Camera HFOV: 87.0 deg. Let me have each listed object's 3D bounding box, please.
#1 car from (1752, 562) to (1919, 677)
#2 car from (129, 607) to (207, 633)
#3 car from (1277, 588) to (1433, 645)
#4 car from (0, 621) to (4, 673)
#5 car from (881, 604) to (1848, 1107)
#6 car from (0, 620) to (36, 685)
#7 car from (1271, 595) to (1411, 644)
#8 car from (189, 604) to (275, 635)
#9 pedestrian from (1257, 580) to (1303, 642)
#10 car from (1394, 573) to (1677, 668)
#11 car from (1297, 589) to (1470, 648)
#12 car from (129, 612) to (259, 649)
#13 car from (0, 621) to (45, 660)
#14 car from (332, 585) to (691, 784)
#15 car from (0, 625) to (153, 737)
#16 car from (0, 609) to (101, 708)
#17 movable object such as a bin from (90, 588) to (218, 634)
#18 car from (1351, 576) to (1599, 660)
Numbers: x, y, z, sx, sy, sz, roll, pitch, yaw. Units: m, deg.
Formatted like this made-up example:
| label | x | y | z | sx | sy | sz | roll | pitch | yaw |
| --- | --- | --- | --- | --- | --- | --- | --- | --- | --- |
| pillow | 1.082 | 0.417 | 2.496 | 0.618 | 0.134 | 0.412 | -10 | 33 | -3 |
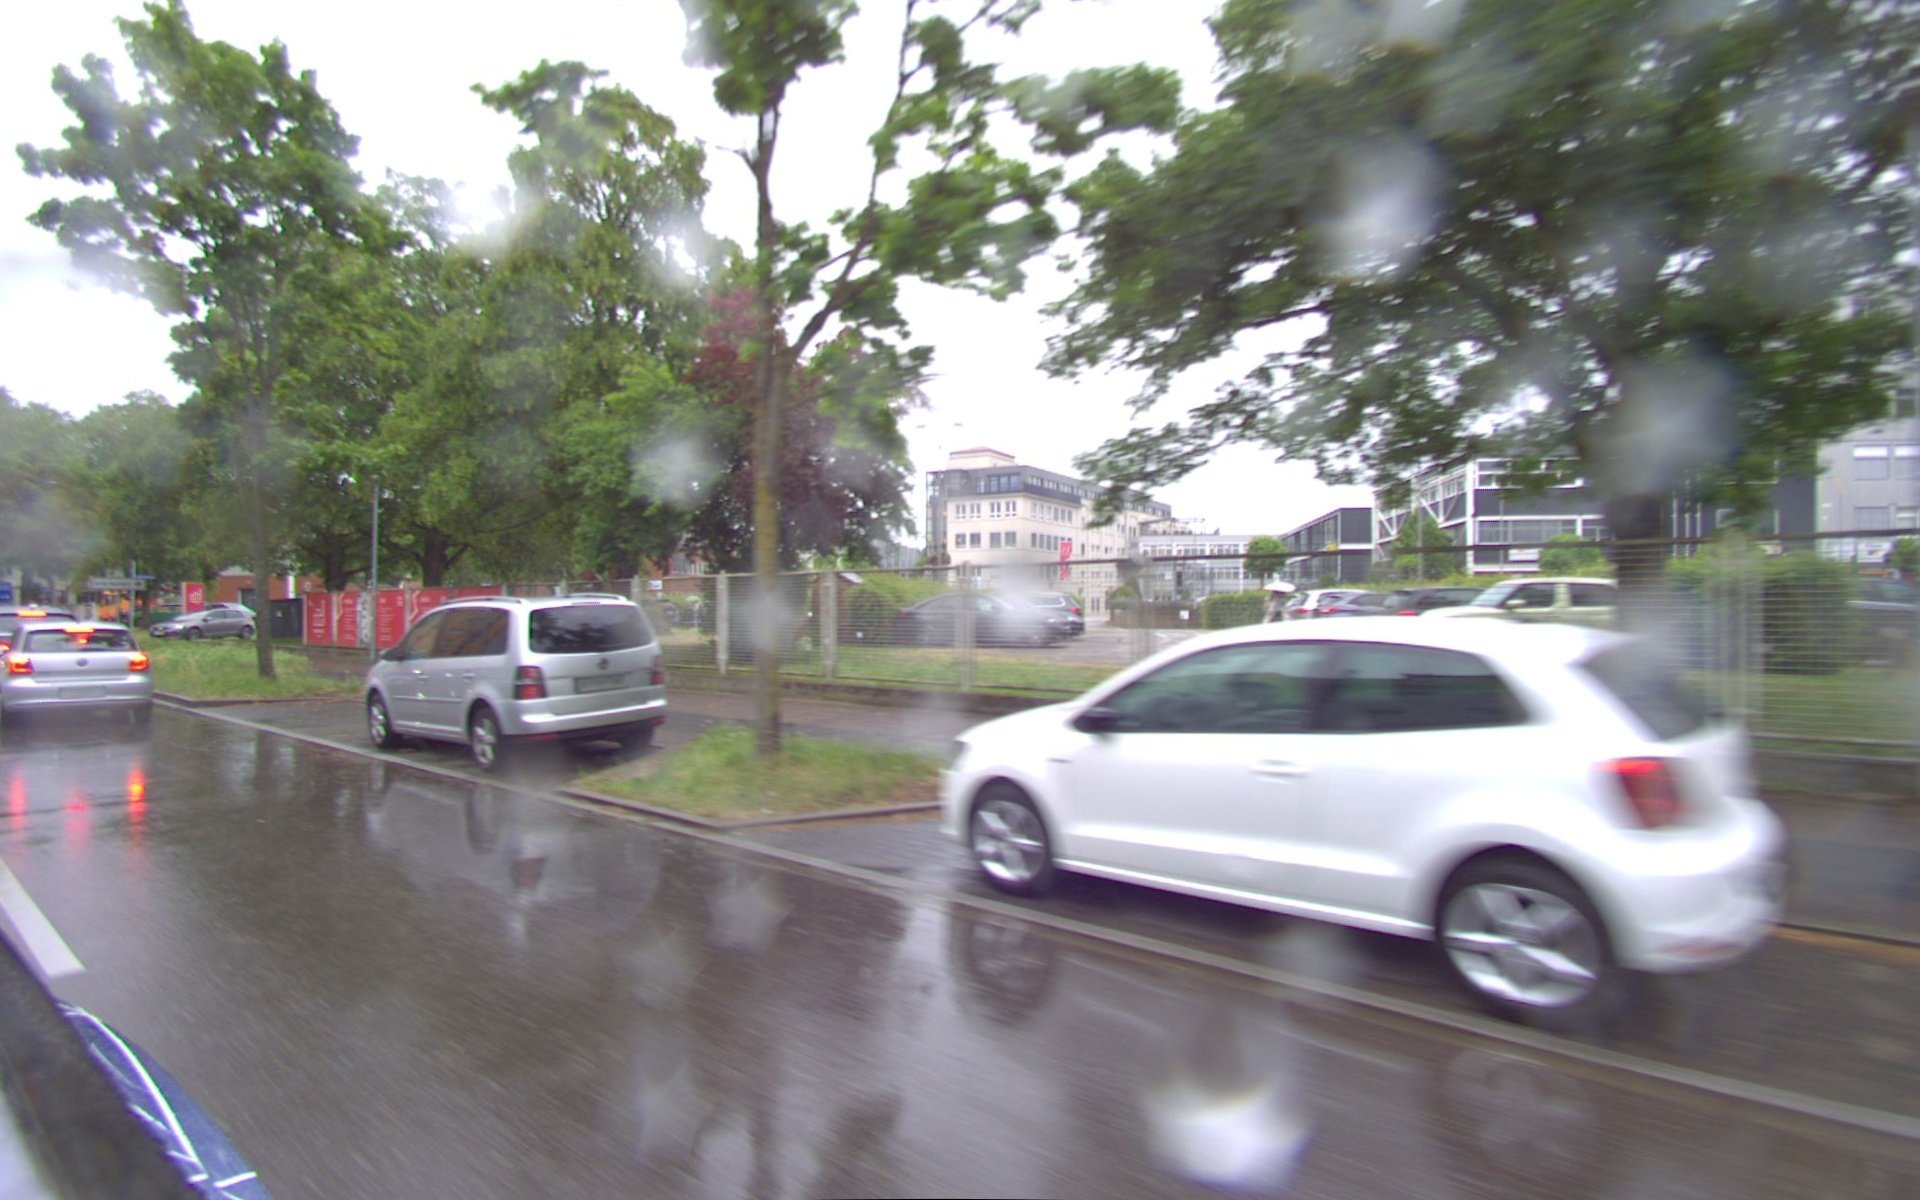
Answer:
| label | x | y | z | sx | sy | sz | roll | pitch | yaw |
| --- | --- | --- | --- | --- | --- | --- | --- | --- | --- |
| car | 15.631 | 0.287 | 16.348 | 3.953 | 1.767 | 1.995 | -1 | 0 | 8 |
| car | -52.208 | 1.340 | 66.708 | 3.938 | 1.613 | 2.003 | 0 | -2 | -42 |
| car | 11.469 | 0.492 | 29.592 | 3.815 | 1.612 | 1.928 | 0 | -1 | 6 |
| car | -28.172 | 1.286 | 28.118 | 4.825 | 1.414 | 1.757 | -1 | 0 | 39 |
| car | 1.607 | 0.771 | 5.045 | 4.174 | 1.471 | 1.642 | -1 | 0 | 44 |
| car | -22.901 | 1.186 | 23.427 | 4.263 | 1.431 | 1.760 | -2 | -2 | 41 |
| car | 11.919 | 0.614 | 31.869 | 3.772 | 1.462 | 1.759 | 0 | -1 | 8 |
| car | -43.594 | 1.199 | 60.626 | 3.955 | 1.804 | 1.994 | 0 | -1 | 10 |
| pedestrian | 8.927 | 0.303 | 28.236 | 0.999 | 1.680 | 0.716 | -1 | -1 | 41 |
| car | 10.129 | 0.336 | 18.091 | 3.950 | 1.584 | 1.848 | 0 | 0 | 5 |
| car | 11.314 | 0.492 | 27.255 | 3.864 | 1.507 | 1.863 | 0 | -1 | 3 |
| car | -33.401 | 1.298 | 44.285 | 1.991 | 1.405 | 4.326 | -1 | 1 | 10 |
| car | -38.396 | 1.541 | 38.526 | 4.844 | 1.465 | 2.092 | 0 | -1 | -17 |
| car | -5.020 | 0.774 | 10.990 | 4.598 | 1.692 | 1.757 | -2 | 1 | 41 |
| car | -13.253 | 1.077 | 14.895 | 4.253 | 1.393 | 1.653 | -1 | -1 | 44 |
| car | -17.717 | 1.006 | 18.966 | 4.821 | 1.652 | 1.893 | -1 | 0 | 42 |
| movable object such as a bin | -54.465 | 0.740 | 68.546 | 6.670 | 2.953 | 2.780 | 0 | -1 | -39 |
| car | 10.235 | 0.350 | 20.385 | 3.946 | 1.569 | 1.999 | 1 | -1 | 2 |
